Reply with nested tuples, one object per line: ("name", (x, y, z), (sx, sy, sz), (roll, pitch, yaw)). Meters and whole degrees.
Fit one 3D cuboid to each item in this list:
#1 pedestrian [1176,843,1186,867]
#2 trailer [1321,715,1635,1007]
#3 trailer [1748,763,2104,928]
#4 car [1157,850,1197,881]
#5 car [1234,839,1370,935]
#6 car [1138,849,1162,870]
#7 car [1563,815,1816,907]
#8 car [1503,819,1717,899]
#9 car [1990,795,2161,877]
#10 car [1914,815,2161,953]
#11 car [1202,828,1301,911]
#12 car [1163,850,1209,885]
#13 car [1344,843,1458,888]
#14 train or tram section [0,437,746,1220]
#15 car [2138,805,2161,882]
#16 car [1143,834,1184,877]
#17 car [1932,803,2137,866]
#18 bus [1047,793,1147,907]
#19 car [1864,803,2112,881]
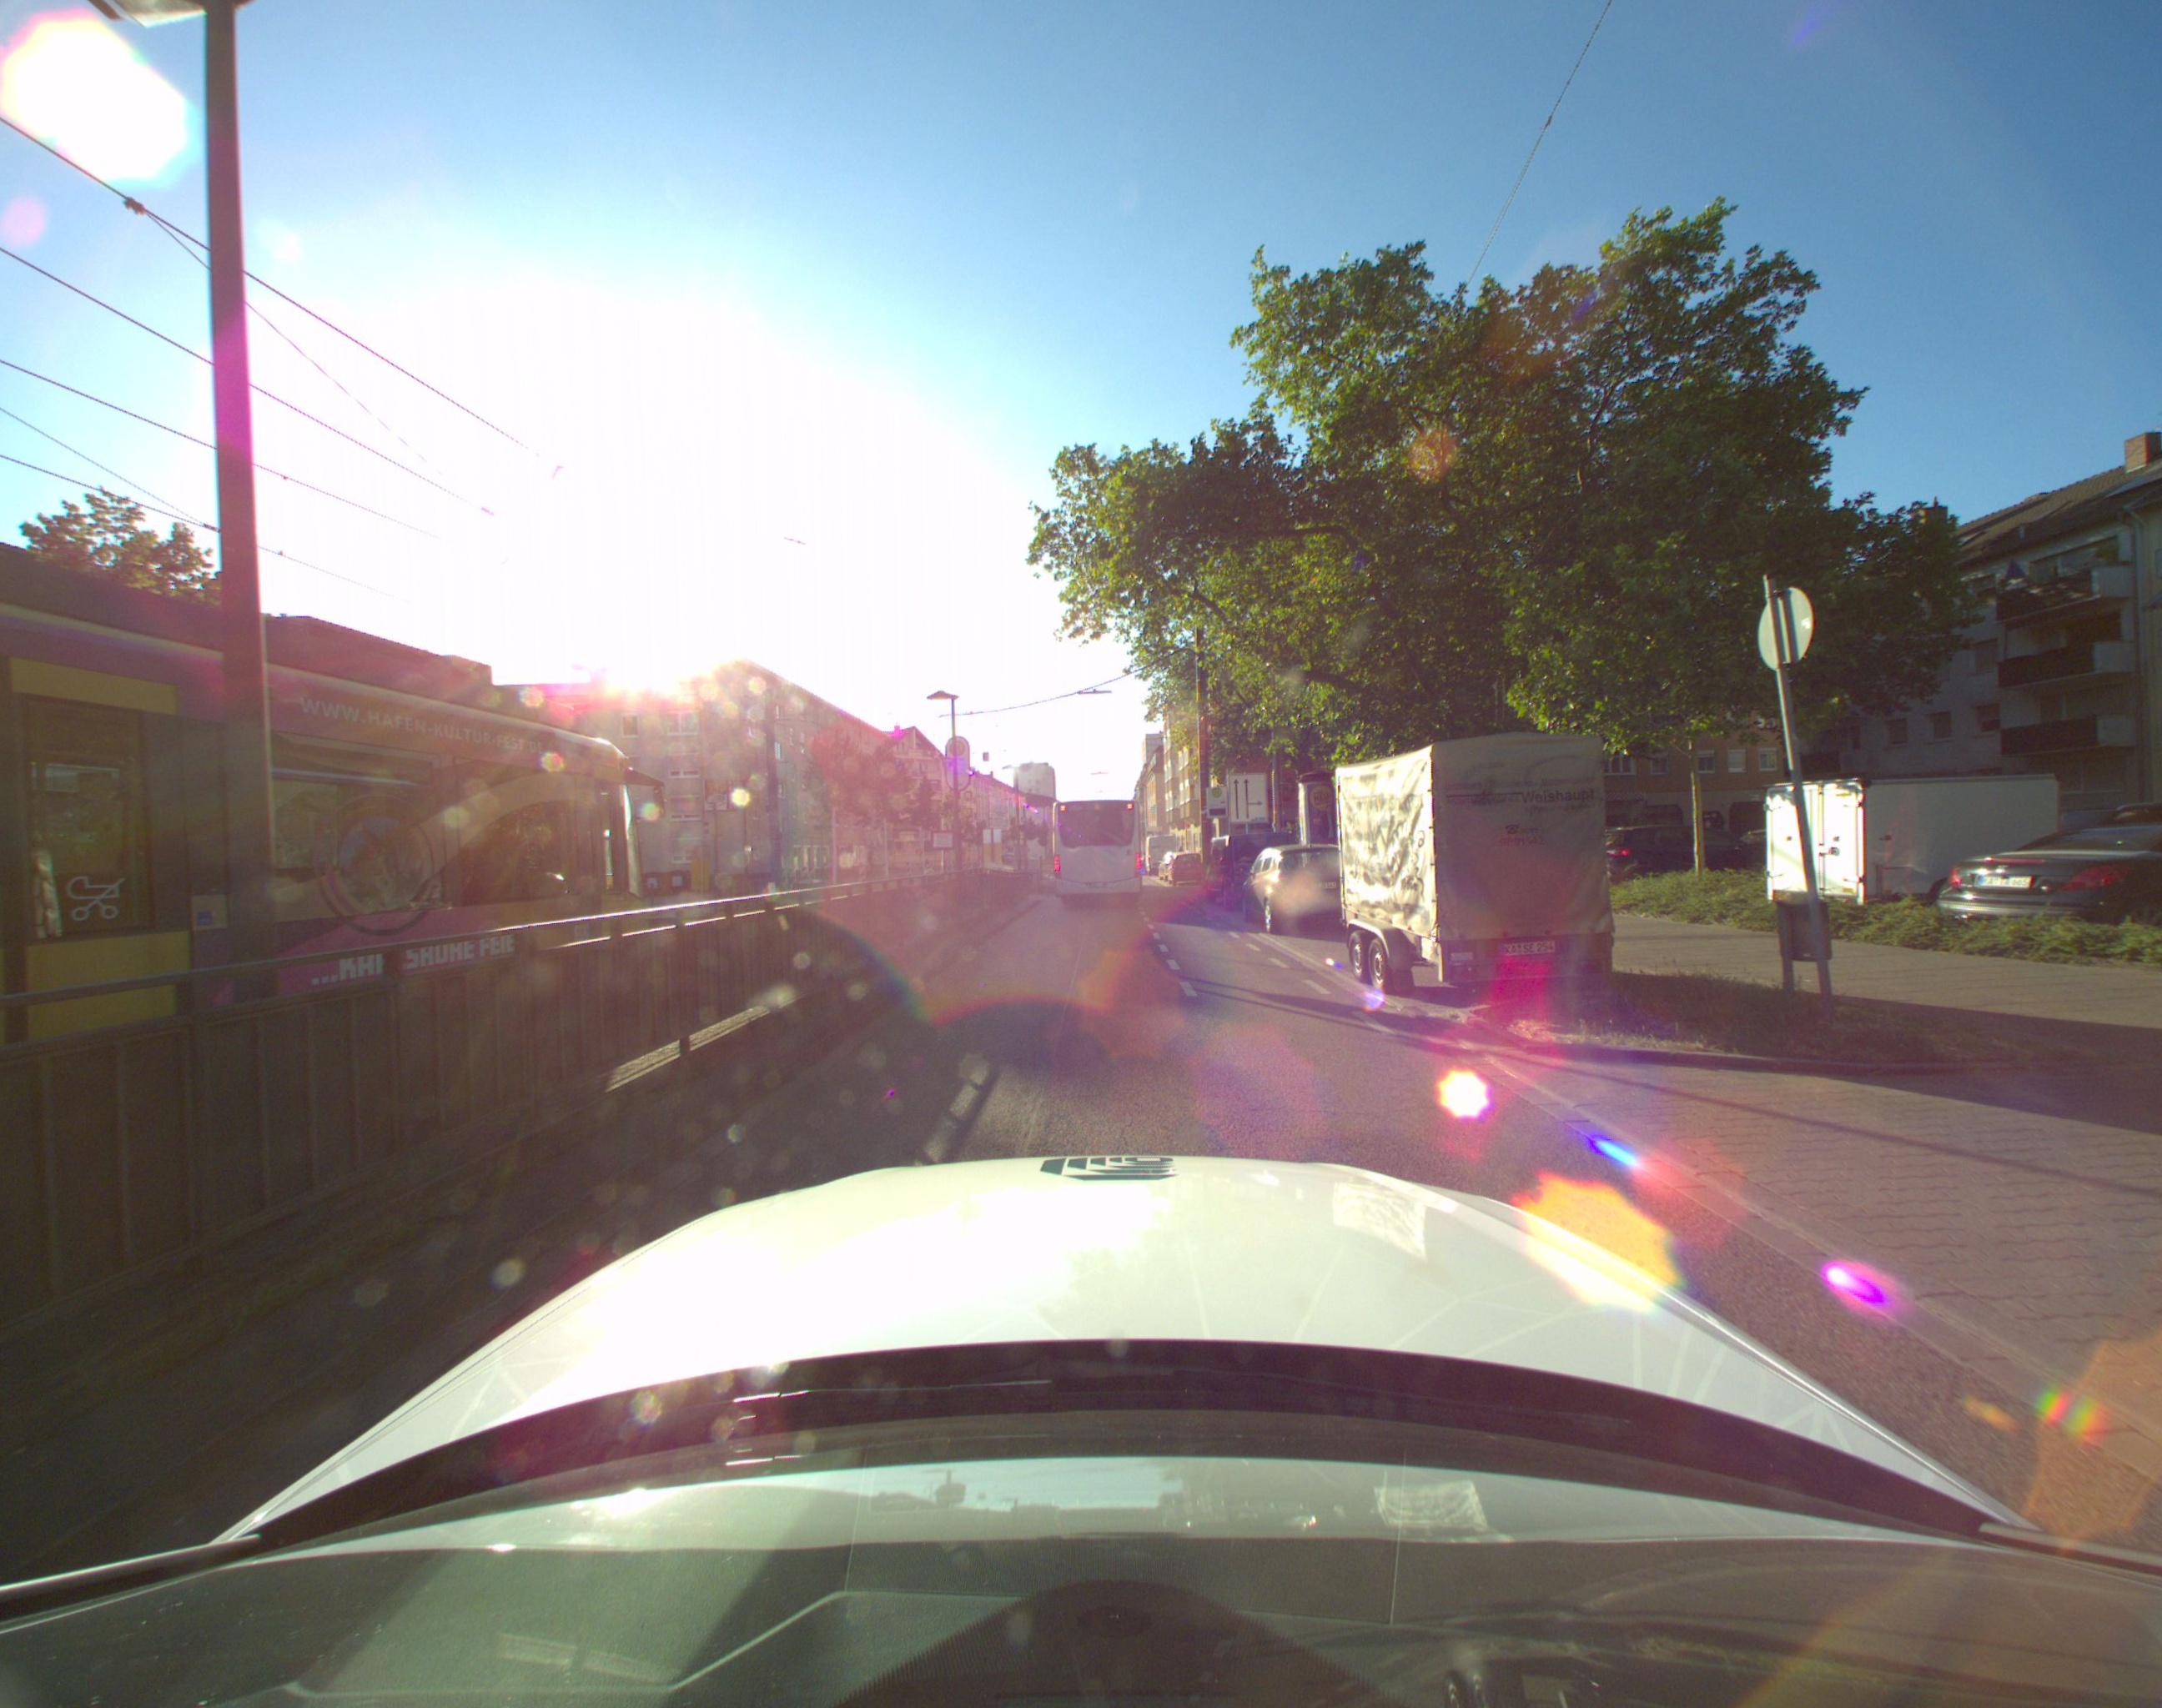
("pedestrian", (8.559, 0.092, 69.515), (0.682, 1.947, 1.116), (-2, -2, 2))
("trailer", (4.082, 0.063, 9.035), (1.826, 2.557, 3.320), (-3, 0, 2))
("trailer", (11.883, -0.107, 11.663), (3.052, 2.069, 1.880), (-2, 0, 2))
("car", (5.044, 0.583, 43.063), (1.665, 1.463, 3.935), (-4, 0, 2))
("car", (4.213, 0.582, 16.120), (1.694, 1.588, 3.829), (-3, 0, 2))
("car", (5.535, 0.422, 65.599), (1.723, 1.575, 3.676), (-2, 0, 2))
("car", (12.514, 0.142, 16.933), (3.906, 1.636, 1.707), (-3, 0, 1))
("car", (12.413, 0.113, 19.299), (3.906, 1.637, 1.707), (-3, 0, 1))
("car", (24.198, -0.462, 18.775), (4.262, 1.642, 1.873), (-4, 0, 1))
("car", (12.055, 0.239, 8.971), (3.905, 1.336, 1.707), (-3, 0, 2))
("car", (4.543, 0.393, 22.386), (1.840, 1.956, 4.545), (-3, 0, 2))
("car", (4.881, 0.602, 38.223), (1.665, 1.463, 3.935), (-4, 0, 2))
("car", (12.904, 0.469, 33.025), (3.906, 1.588, 1.707), (-3, 0, 1))
("train or tram section", (-6.138, -0.086, 4.410), (2.630, 3.519, 13.339), (-2, 0, 2))
("car", (23.911, -0.347, 15.962), (3.880, 1.555, 1.830), (-4, 0, 1))
("car", (5.418, 0.092, 54.182), (2.274, 2.627, 5.311), (-3, 0, 2))
("car", (30.599, -0.602, 26.236), (4.262, 1.642, 1.873), (-4, 0, 1))
("bus", (0.746, -0.107, 28.144), (2.722, 3.139, 10.712), (-1, 0, 3))
("car", (23.568, -0.300, 21.298), (4.262, 1.642, 1.873), (-4, 0, 1))
